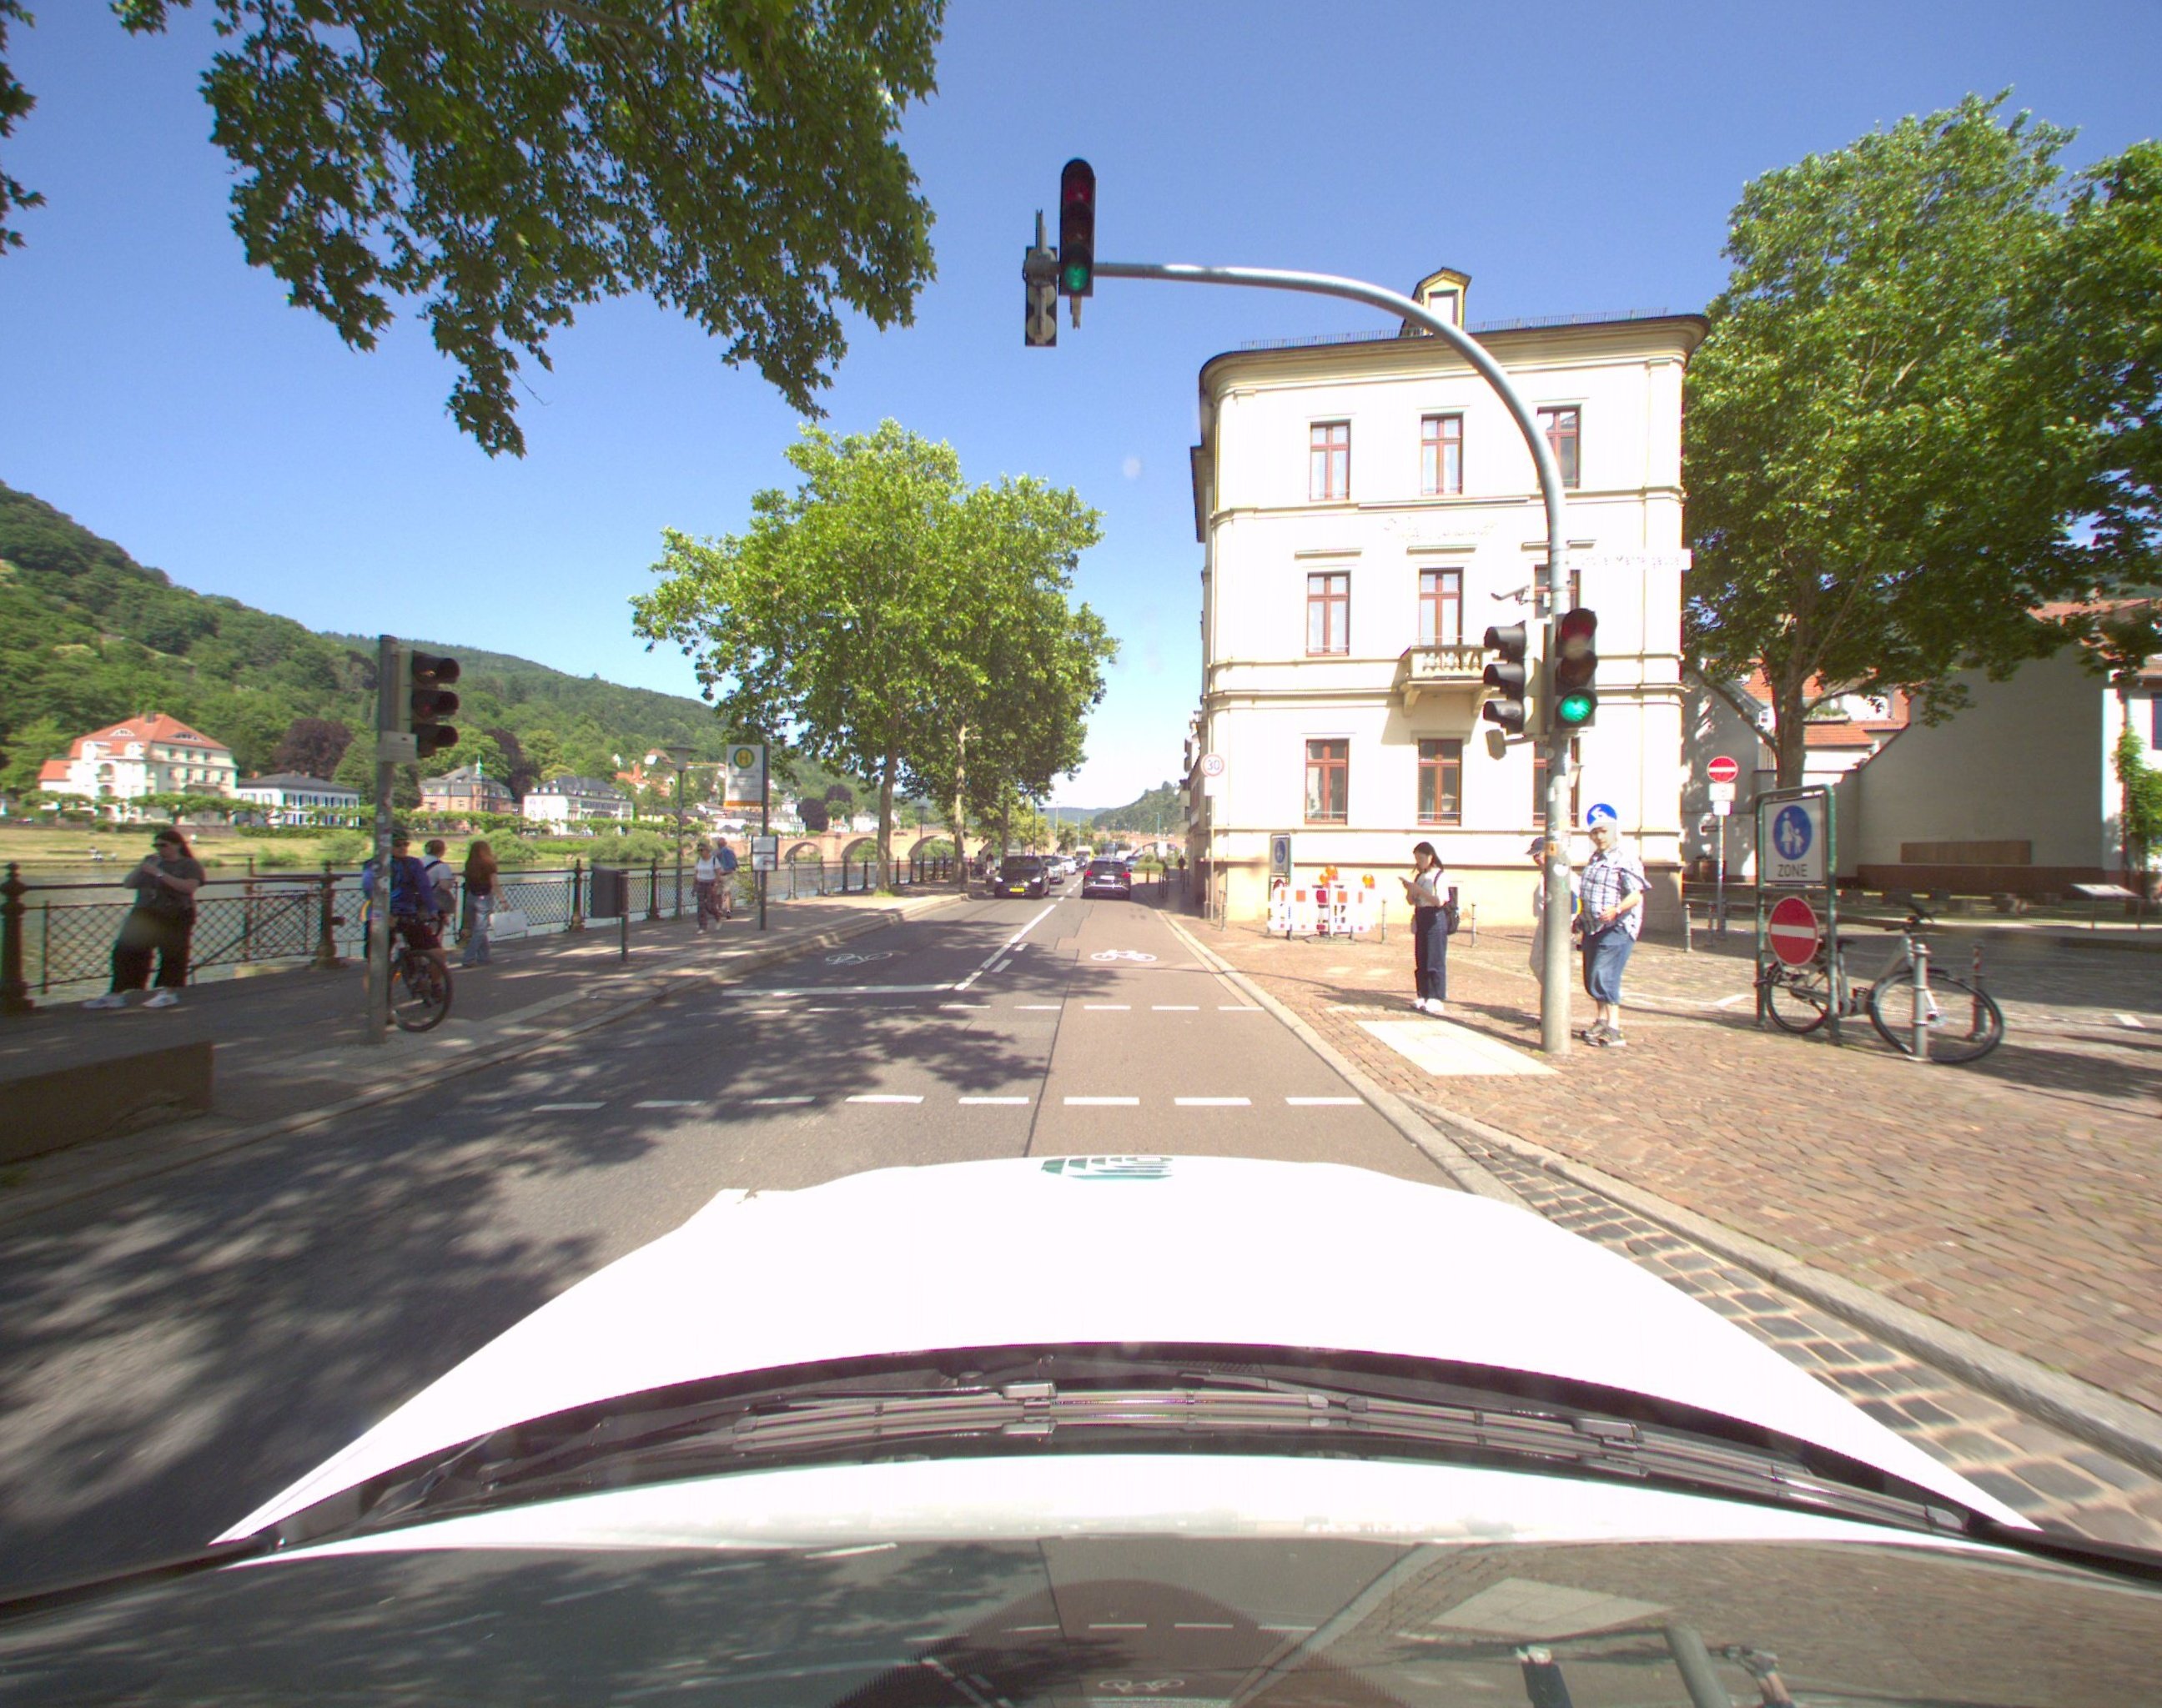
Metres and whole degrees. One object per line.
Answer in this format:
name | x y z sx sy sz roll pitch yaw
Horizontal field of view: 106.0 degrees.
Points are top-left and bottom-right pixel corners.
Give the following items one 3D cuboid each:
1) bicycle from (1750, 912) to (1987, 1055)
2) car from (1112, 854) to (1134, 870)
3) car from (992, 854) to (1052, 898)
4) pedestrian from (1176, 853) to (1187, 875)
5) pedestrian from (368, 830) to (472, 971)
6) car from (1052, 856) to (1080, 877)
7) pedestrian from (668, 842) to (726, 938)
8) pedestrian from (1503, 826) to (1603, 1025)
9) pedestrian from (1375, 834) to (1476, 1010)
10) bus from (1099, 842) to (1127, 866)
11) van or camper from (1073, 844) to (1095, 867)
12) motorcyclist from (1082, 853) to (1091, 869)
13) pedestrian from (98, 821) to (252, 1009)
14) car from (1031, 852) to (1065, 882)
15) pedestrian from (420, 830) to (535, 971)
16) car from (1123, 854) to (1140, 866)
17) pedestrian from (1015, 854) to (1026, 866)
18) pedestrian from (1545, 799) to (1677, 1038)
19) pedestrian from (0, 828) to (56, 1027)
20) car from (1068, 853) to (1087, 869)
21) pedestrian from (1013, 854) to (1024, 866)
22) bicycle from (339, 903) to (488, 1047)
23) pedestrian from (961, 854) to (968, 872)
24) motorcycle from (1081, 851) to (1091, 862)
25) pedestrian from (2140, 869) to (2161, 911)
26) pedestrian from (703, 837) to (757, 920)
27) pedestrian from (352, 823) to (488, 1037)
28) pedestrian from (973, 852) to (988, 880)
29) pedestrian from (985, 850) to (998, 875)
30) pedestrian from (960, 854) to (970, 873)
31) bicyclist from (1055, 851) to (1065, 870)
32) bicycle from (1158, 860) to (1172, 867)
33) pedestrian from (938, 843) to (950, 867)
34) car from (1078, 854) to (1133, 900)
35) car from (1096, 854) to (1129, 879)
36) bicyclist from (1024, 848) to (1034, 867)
bicycle | 6.462 1.008 6.808 0.505 1.004 1.581 2 -3 4
car | 4.174 0.786 80.045 1.916 1.553 4.840 0 0 6
car | -2.150 0.778 30.921 1.694 1.518 4.408 -1 0 3
pedestrian | 7.857 0.771 63.396 0.758 1.713 0.697 -2 -1 5
pedestrian | -8.324 0.564 10.279 0.650 1.713 0.793 0 0 1
car | -1.124 0.935 62.806 1.693 1.445 4.096 2 1 4
pedestrian | -6.737 0.609 14.327 0.492 1.617 0.992 1 -1 1
pedestrian | 4.253 0.619 7.376 0.525 1.712 0.665 1 -1 1
pedestrian | 3.422 0.650 8.136 0.713 1.675 0.682 1 -1 1
bus | 5.053 0.078 126.923 2.615 3.564 13.016 1 -1 10
van or camper | 0.399 0.197 93.446 2.079 2.557 7.096 1 0 3
motorcyclist | 0.527 0.712 83.683 0.876 1.583 1.024 1 -1 -3
pedestrian | -8.637 0.556 7.792 0.616 1.700 0.696 2 -1 1
car | -1.738 0.705 44.151 1.730 1.518 4.402 0 -1 -1
pedestrian | -7.647 0.568 10.360 0.832 1.713 0.783 1 -1 1
car | 6.601 0.785 105.782 1.916 1.553 4.840 0 0 6
pedestrian | -6.580 0.691 88.382 0.931 1.281 0.852 1 -1 10
pedestrian | 4.323 0.501 6.689 0.614 1.852 0.730 1 -1 2
pedestrian | -9.030 0.591 6.452 0.547 1.608 0.911 3 -1 1
car | -0.321 0.696 77.623 1.694 1.458 4.004 0 0 2
pedestrian | -6.743 0.684 87.481 0.931 1.281 0.852 1 -1 10
bicycle | -6.128 1.032 7.435 1.808 0.925 0.747 7 3 42
pedestrian | -10.057 0.767 70.276 0.412 1.597 0.452 1 -1 9
motorcycle | 0.529 0.206 83.708 0.881 1.077 2.326 0 1 -2
pedestrian | 30.227 1.008 22.488 0.975 1.147 0.819 0 0 34
pedestrian | -7.684 0.527 17.858 0.709 1.764 0.972 1 -1 1
pedestrian | -5.991 0.628 7.376 1.012 1.773 0.774 0 -1 42
pedestrian | -5.811 0.672 47.084 0.759 1.586 0.696 1 -1 1
pedestrian | -6.260 0.591 56.996 0.654 1.682 0.758 3 -1 1
pedestrian | -10.032 0.792 70.553 0.689 1.616 0.665 1 -1 9
bicyclist | -1.788 0.555 69.541 0.763 1.531 1.026 2 2 3
bicycle | 11.089 1.228 107.233 1.801 0.878 0.503 3 0 5
pedestrian | -11.021 0.101 65.526 0.691 1.945 0.887 1 -1 1
car | 0.914 0.856 31.483 1.920 1.553 4.832 2 -1 1
car | 2.044 0.773 51.778 1.918 1.461 4.836 1 0 4
bicyclist | -4.491 0.297 70.880 0.716 1.583 1.090 1 -1 3
